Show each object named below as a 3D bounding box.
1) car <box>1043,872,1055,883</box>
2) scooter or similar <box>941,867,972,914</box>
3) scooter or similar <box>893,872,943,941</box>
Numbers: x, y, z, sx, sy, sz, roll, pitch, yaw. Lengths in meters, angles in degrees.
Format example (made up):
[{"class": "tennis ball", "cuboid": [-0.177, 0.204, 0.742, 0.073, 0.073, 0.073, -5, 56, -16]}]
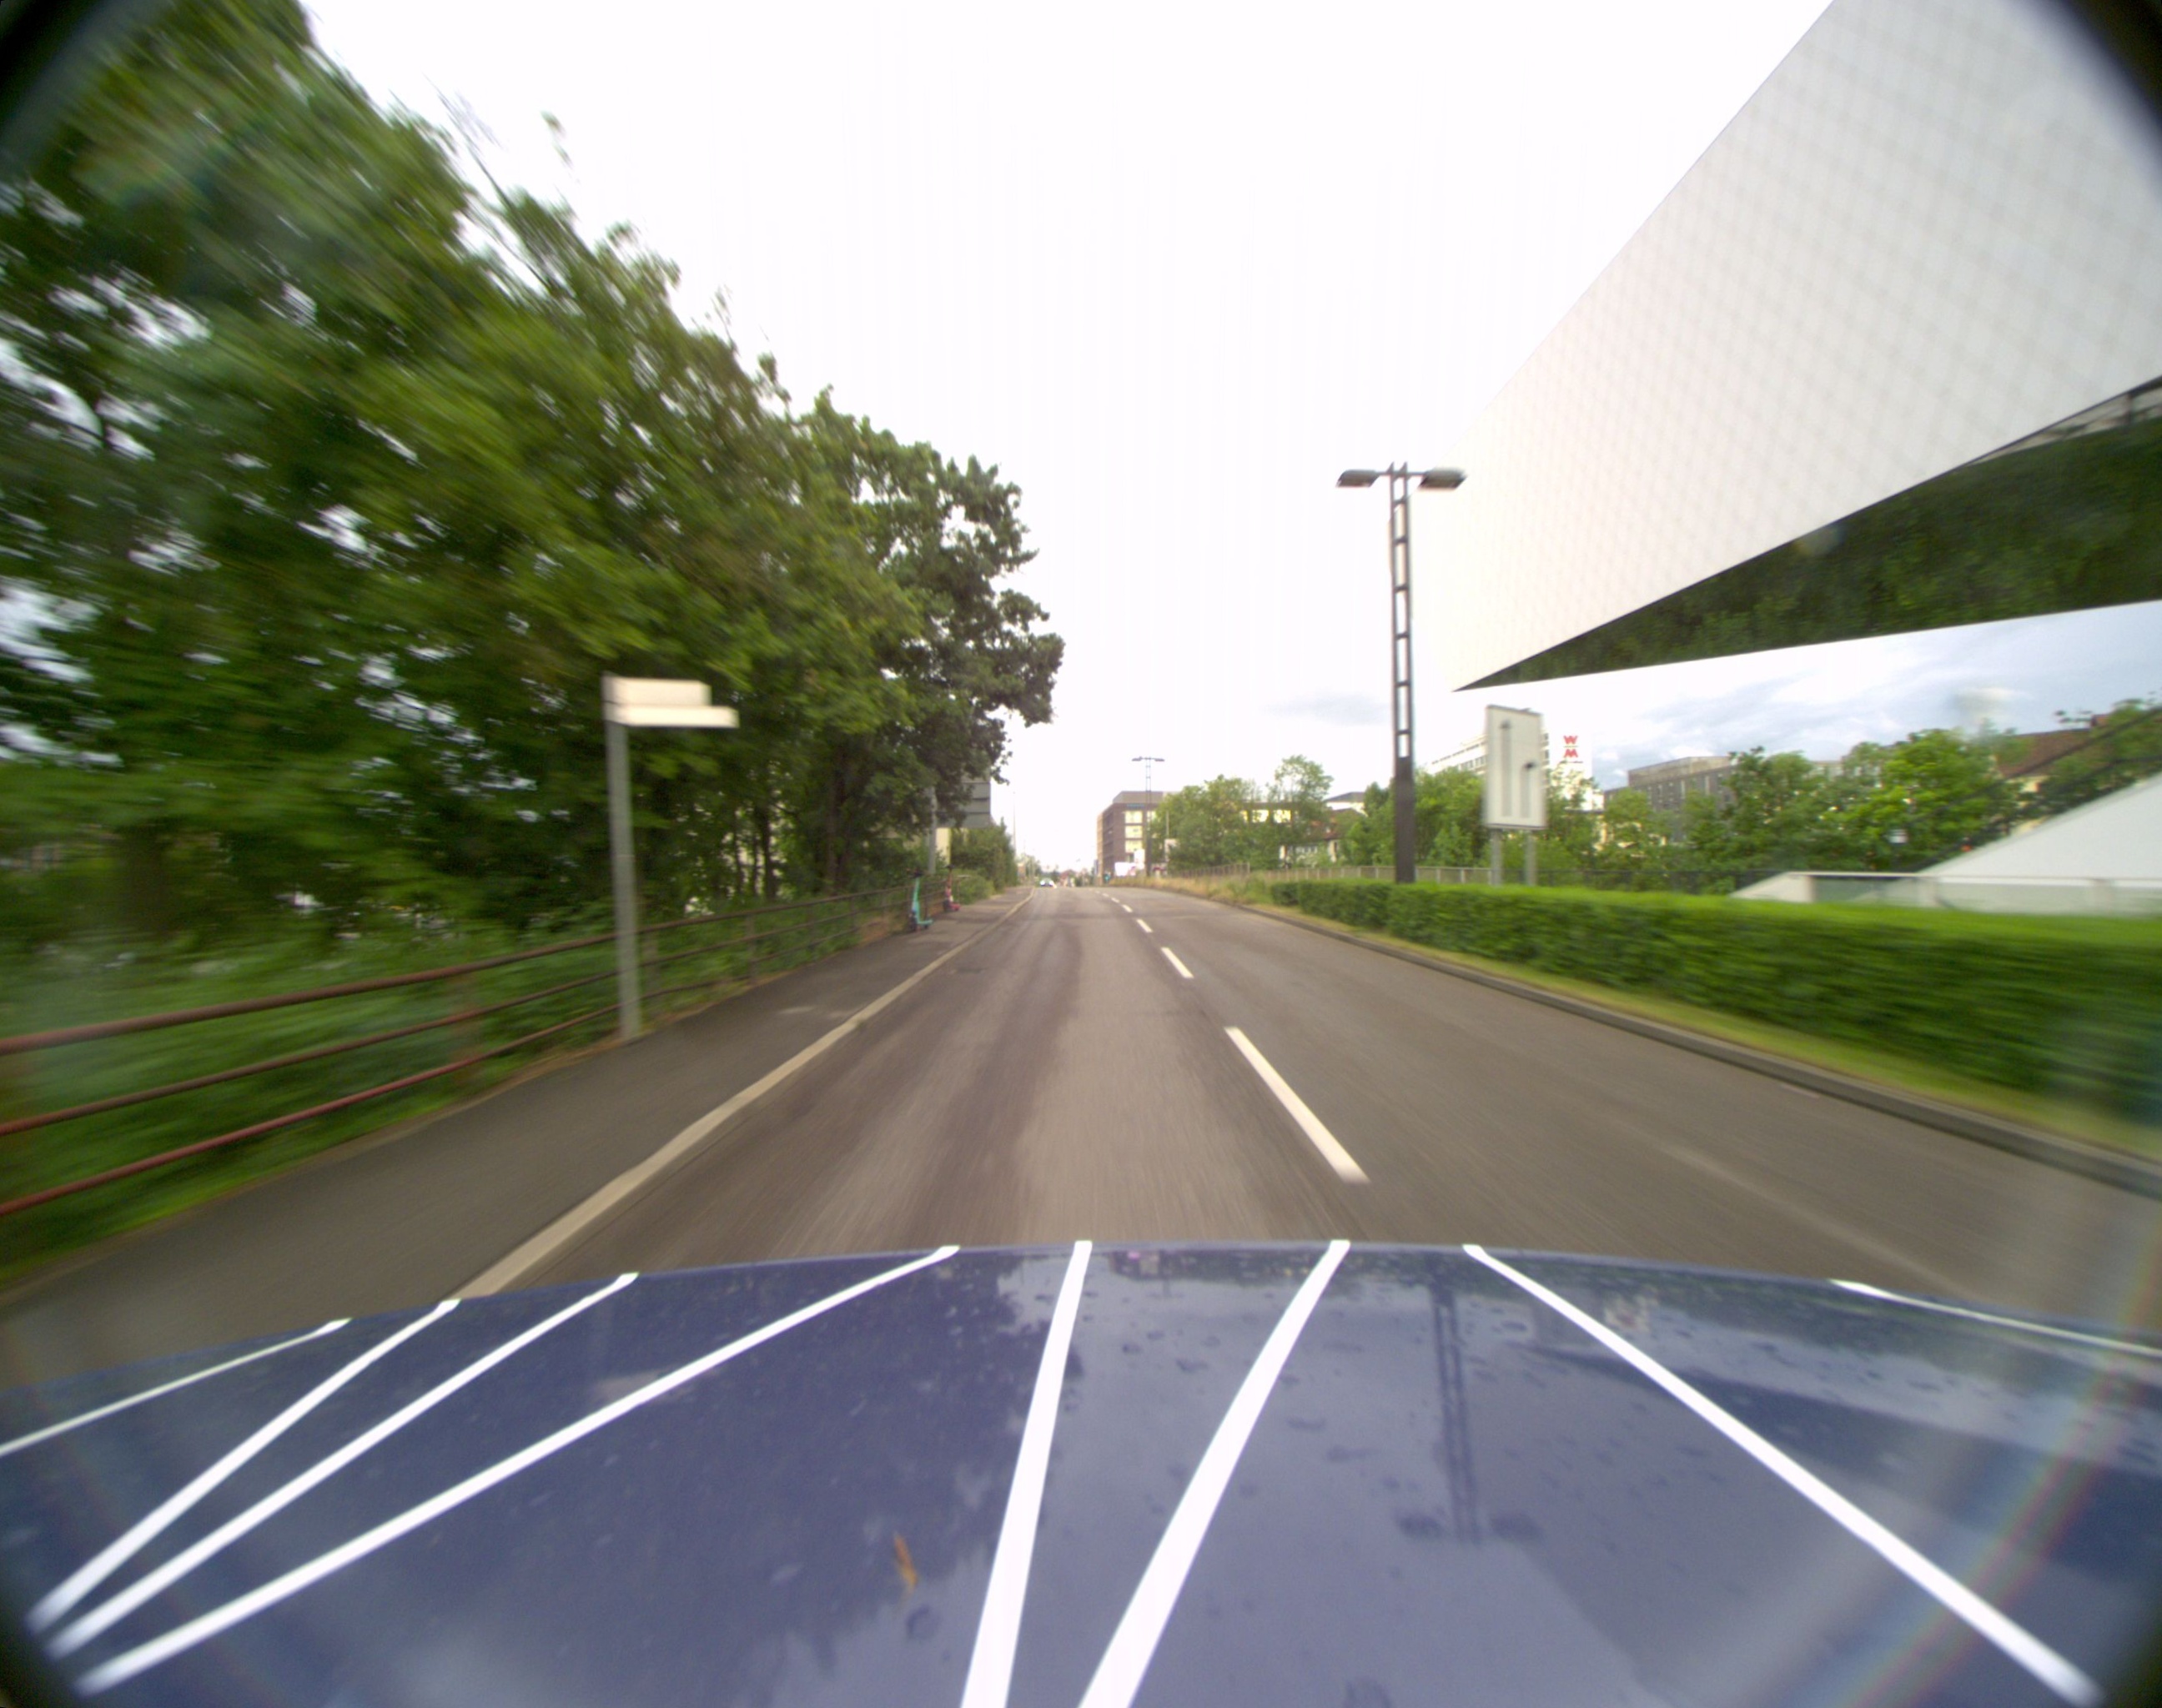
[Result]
[{"class": "car", "cuboid": [-5.135, 3.798, 124.041, 1.841, 1.574, 4.289, -1, -1, -1]}, {"class": "scooter or similar", "cuboid": [-3.350, 0.967, 20.521, 0.574, 1.201, 1.468, -1, 0, 1]}, {"class": "scooter or similar", "cuboid": [-3.169, 0.993, 14.900, 0.539, 1.225, 1.844, -1, 0, 1]}]
